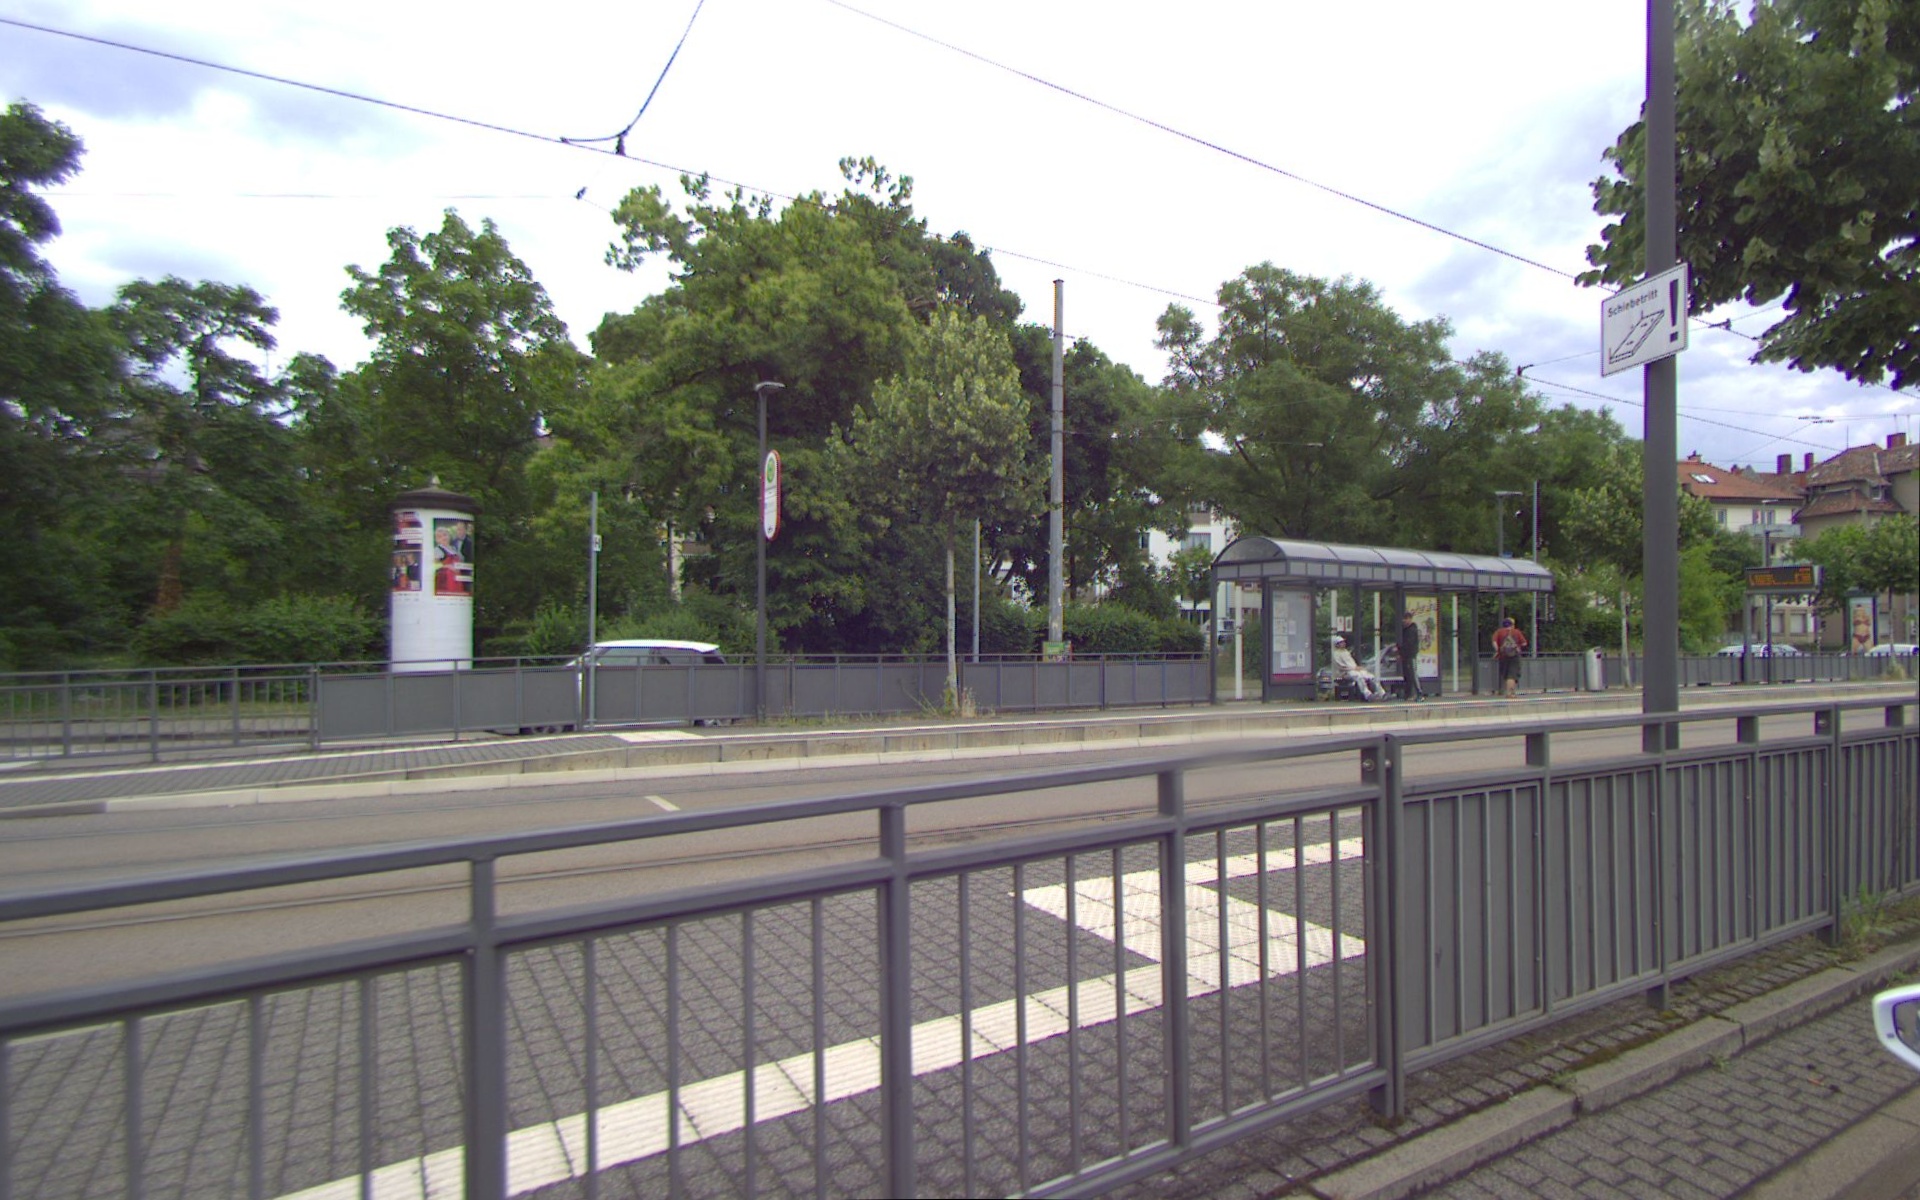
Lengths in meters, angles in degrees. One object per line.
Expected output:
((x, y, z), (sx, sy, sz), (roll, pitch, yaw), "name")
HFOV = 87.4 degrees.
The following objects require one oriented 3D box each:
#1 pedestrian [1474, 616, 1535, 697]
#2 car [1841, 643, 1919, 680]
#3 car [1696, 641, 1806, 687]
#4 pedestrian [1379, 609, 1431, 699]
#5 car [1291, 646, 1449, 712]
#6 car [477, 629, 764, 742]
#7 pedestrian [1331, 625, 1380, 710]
((11.666, 1.211, 21.524), (1.014, 1.682, 0.764), (2, -3, -34), "pedestrian")
((39.450, 2.616, 42.844), (3.842, 1.512, 1.761), (2, -3, -31), "car")
((27.597, 2.220, 35.031), (3.842, 1.512, 1.761), (2, -3, -31), "car")
((8.861, 1.073, 20.014), (0.693, 1.738, 0.694), (2, -3, -39), "pedestrian")
((10.342, 1.956, 25.304), (3.842, 1.512, 1.761), (2, -3, -31), "car")
((-5.118, 1.241, 15.267), (3.842, 1.512, 1.761), (2, -3, -31), "car")
((7.811, 1.325, 19.840), (0.673, 1.645, 0.628), (2, -3, -32), "pedestrian")
